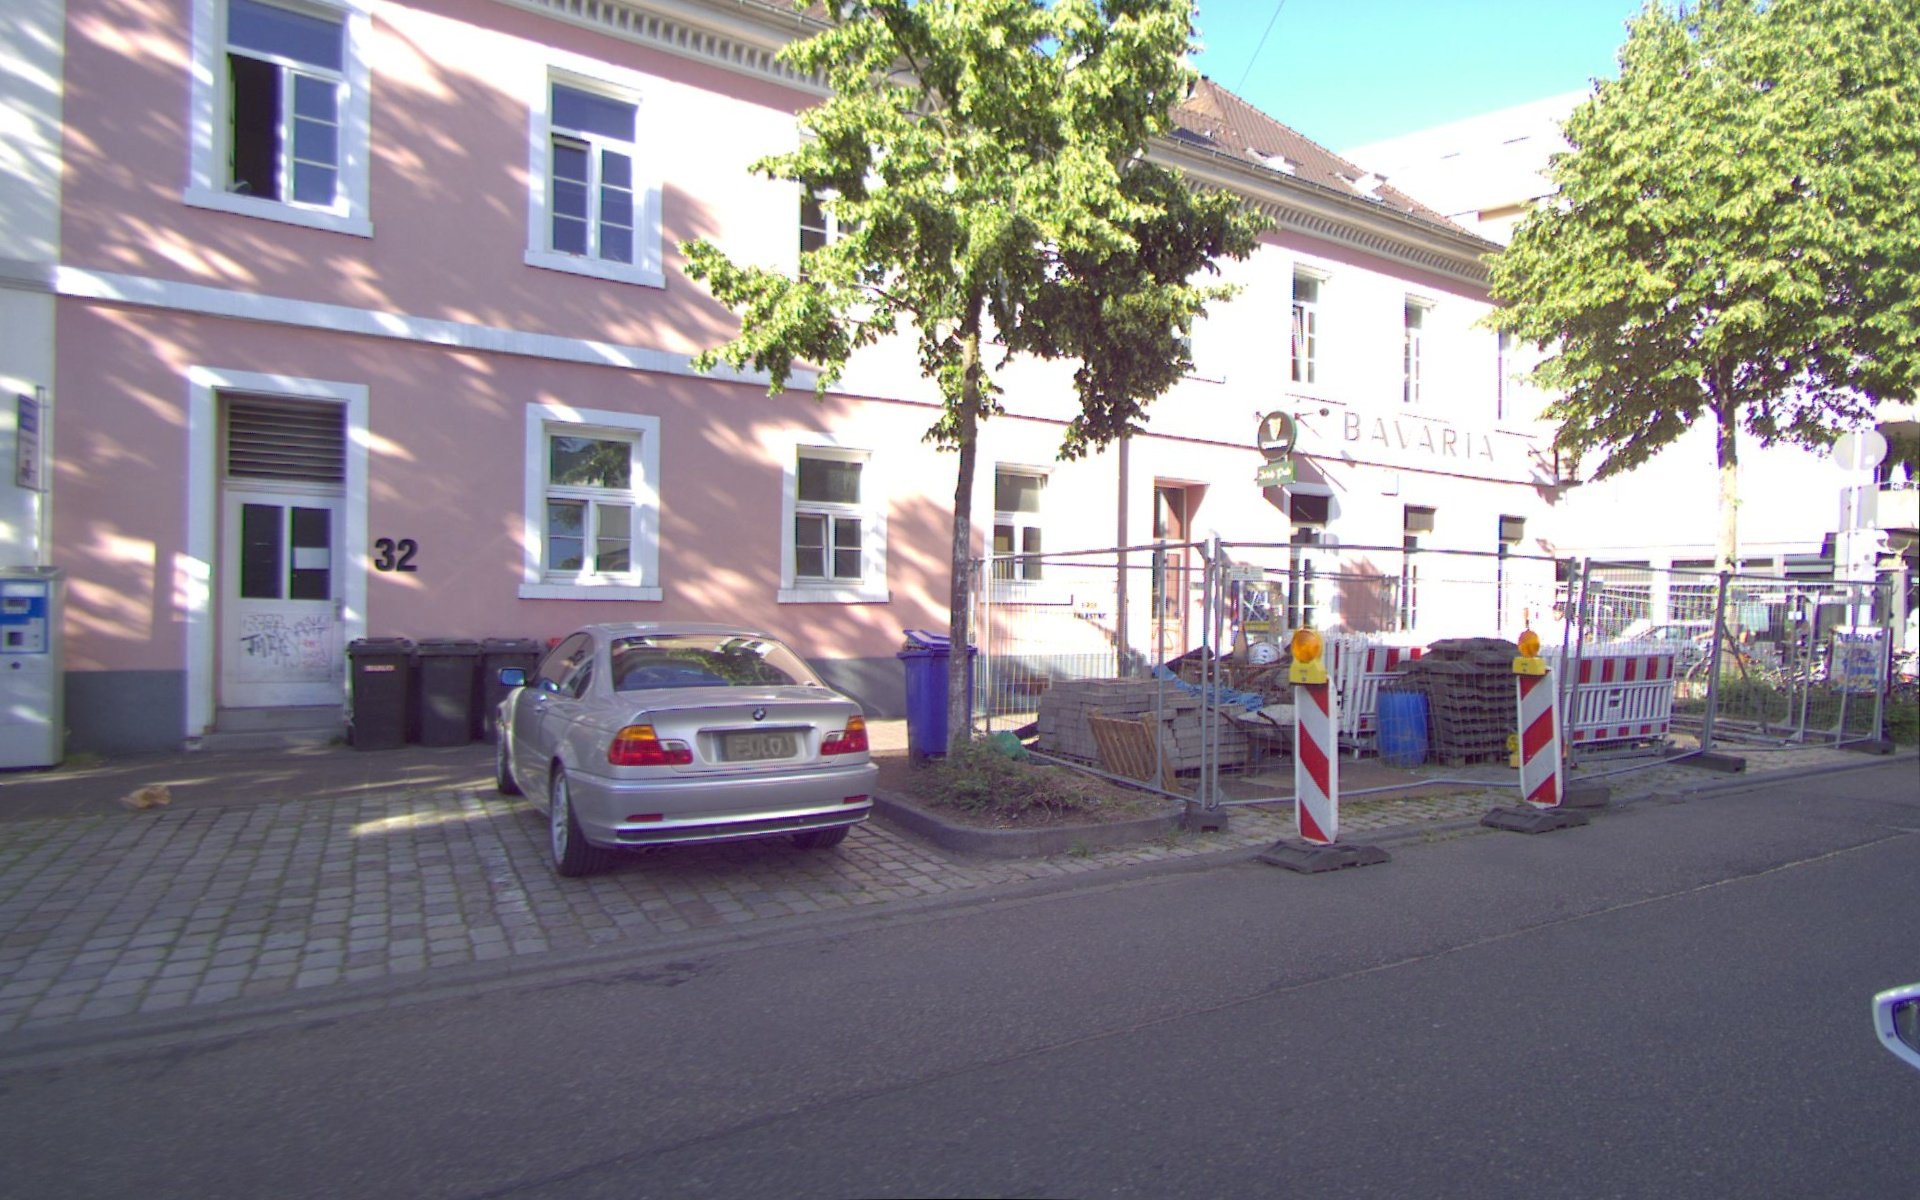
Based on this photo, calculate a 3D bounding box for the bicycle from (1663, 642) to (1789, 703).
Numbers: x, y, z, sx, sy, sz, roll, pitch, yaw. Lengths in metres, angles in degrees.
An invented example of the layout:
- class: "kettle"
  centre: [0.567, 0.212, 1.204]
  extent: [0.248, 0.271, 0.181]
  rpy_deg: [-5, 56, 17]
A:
- class: "bicycle"
  centre: [14.274, 1.333, 18.733]
  extent: [1.920, 1.073, 0.768]
  rpy_deg: [0, -1, -10]

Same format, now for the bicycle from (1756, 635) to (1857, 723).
- class: "bicycle"
  centre: [13.653, 1.234, 16.262]
  extent: [0.588, 1.269, 1.794]
  rpy_deg: [1, 0, 17]

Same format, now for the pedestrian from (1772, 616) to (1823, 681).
- class: "pedestrian"
  centre: [21.675, 1.239, 26.010]
  extent: [0.676, 1.665, 0.774]
  rpy_deg: [0, -1, 3]

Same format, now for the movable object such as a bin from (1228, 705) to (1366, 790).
- class: "movable object such as a bin"
  centre: [3.004, 1.291, 8.959]
  extent: [1.065, 0.624, 0.625]
  rpy_deg: [1, -2, -30]

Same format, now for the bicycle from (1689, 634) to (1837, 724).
- class: "bicycle"
  centre: [12.629, 1.206, 15.868]
  extent: [0.591, 1.269, 1.786]
  rpy_deg: [1, 0, -18]

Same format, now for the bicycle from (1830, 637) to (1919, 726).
- class: "bicycle"
  centre: [14.380, 1.237, 15.126]
  extent: [0.594, 1.269, 1.841]
  rpy_deg: [1, 0, -36]

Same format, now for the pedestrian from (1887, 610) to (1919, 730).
- class: "pedestrian"
  centre: [14.184, 1.013, 14.645]
  extent: [0.780, 1.730, 0.766]
  rpy_deg: [1, 0, 27]

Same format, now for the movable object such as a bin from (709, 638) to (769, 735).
- class: "movable object such as a bin"
  centre: [-2.578, 0.984, 11.695]
  extent: [0.538, 1.074, 0.629]
  rpy_deg: [1, -1, -29]

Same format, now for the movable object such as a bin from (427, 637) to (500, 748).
- class: "movable object such as a bin"
  centre: [-5.075, 0.918, 10.256]
  extent: [0.632, 1.074, 0.693]
  rpy_deg: [1, -1, -29]

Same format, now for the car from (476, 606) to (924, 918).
- class: "car"
  centre: [-2.191, 0.789, 7.185]
  extent: [1.788, 1.431, 4.654]
  rpy_deg: [1, 0, -32]

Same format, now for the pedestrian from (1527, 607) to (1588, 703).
- class: "pedestrian"
  centre: [10.711, 0.979, 18.018]
  extent: [0.803, 1.675, 0.608]
  rpy_deg: [1, -1, -27]

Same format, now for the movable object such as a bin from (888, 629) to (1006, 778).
- class: "movable object such as a bin"
  centre: [-0.115, 0.850, 8.629]
  extent: [0.739, 1.202, 0.725]
  rpy_deg: [1, -1, -39]

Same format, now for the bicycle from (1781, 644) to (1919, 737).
- class: "bicycle"
  centre: [12.932, 1.269, 14.299]
  extent: [0.594, 1.186, 1.841]
  rpy_deg: [1, 0, -36]

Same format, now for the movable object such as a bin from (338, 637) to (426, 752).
- class: "movable object such as a bin"
  centre: [-5.676, 0.901, 9.899]
  extent: [0.723, 1.074, 0.693]
  rpy_deg: [1, -1, -29]

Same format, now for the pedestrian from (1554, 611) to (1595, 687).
- class: "pedestrian"
  centre: [14.720, 1.151, 24.053]
  extent: [0.651, 1.783, 0.649]
  rpy_deg: [1, -1, -37]

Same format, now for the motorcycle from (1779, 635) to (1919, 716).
- class: "motorcycle"
  centre: [15.430, 1.275, 17.390]
  extent: [0.751, 1.246, 1.836]
  rpy_deg: [1, 0, -41]

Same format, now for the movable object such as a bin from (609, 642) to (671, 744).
- class: "movable object such as a bin"
  centre: [-3.546, 1.011, 11.118]
  extent: [0.538, 1.074, 0.629]
  rpy_deg: [1, -1, -29]

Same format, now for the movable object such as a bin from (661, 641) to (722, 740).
- class: "movable object such as a bin"
  centre: [-3.053, 1.002, 11.404]
  extent: [0.538, 1.074, 0.629]
  rpy_deg: [1, -1, -29]

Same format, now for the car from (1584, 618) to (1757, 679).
- class: "car"
  centre: [20.421, 1.352, 28.931]
  extent: [3.940, 1.632, 1.991]
  rpy_deg: [-1, -2, 40]

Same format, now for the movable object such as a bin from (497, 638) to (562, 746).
- class: "movable object such as a bin"
  centre: [-4.530, 0.944, 10.561]
  extent: [0.567, 1.074, 0.693]
  rpy_deg: [1, -1, -29]

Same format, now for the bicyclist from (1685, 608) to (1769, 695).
- class: "bicyclist"
  centre: [14.284, 0.952, 18.718]
  extent: [1.022, 1.581, 0.768]
  rpy_deg: [0, -1, -10]

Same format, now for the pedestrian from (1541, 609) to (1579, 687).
- class: "pedestrian"
  centre: [13.982, 1.104, 23.421]
  extent: [0.646, 1.783, 0.653]
  rpy_deg: [0, -1, 42]

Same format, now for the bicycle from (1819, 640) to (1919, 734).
- class: "bicycle"
  centre: [13.617, 1.246, 14.435]
  extent: [0.594, 1.269, 1.841]
  rpy_deg: [1, 0, -36]

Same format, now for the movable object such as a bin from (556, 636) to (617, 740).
- class: "movable object such as a bin"
  centre: [-4.043, 0.926, 10.860]
  extent: [0.538, 1.074, 0.629]
  rpy_deg: [1, -1, -29]

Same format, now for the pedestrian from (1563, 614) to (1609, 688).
- class: "pedestrian"
  centre: [14.534, 1.164, 23.335]
  extent: [0.646, 1.690, 0.654]
  rpy_deg: [0, -1, -19]

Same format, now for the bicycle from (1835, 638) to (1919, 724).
- class: "bicycle"
  centre: [14.853, 1.259, 15.578]
  extent: [0.594, 1.269, 1.841]
  rpy_deg: [1, 0, -36]
